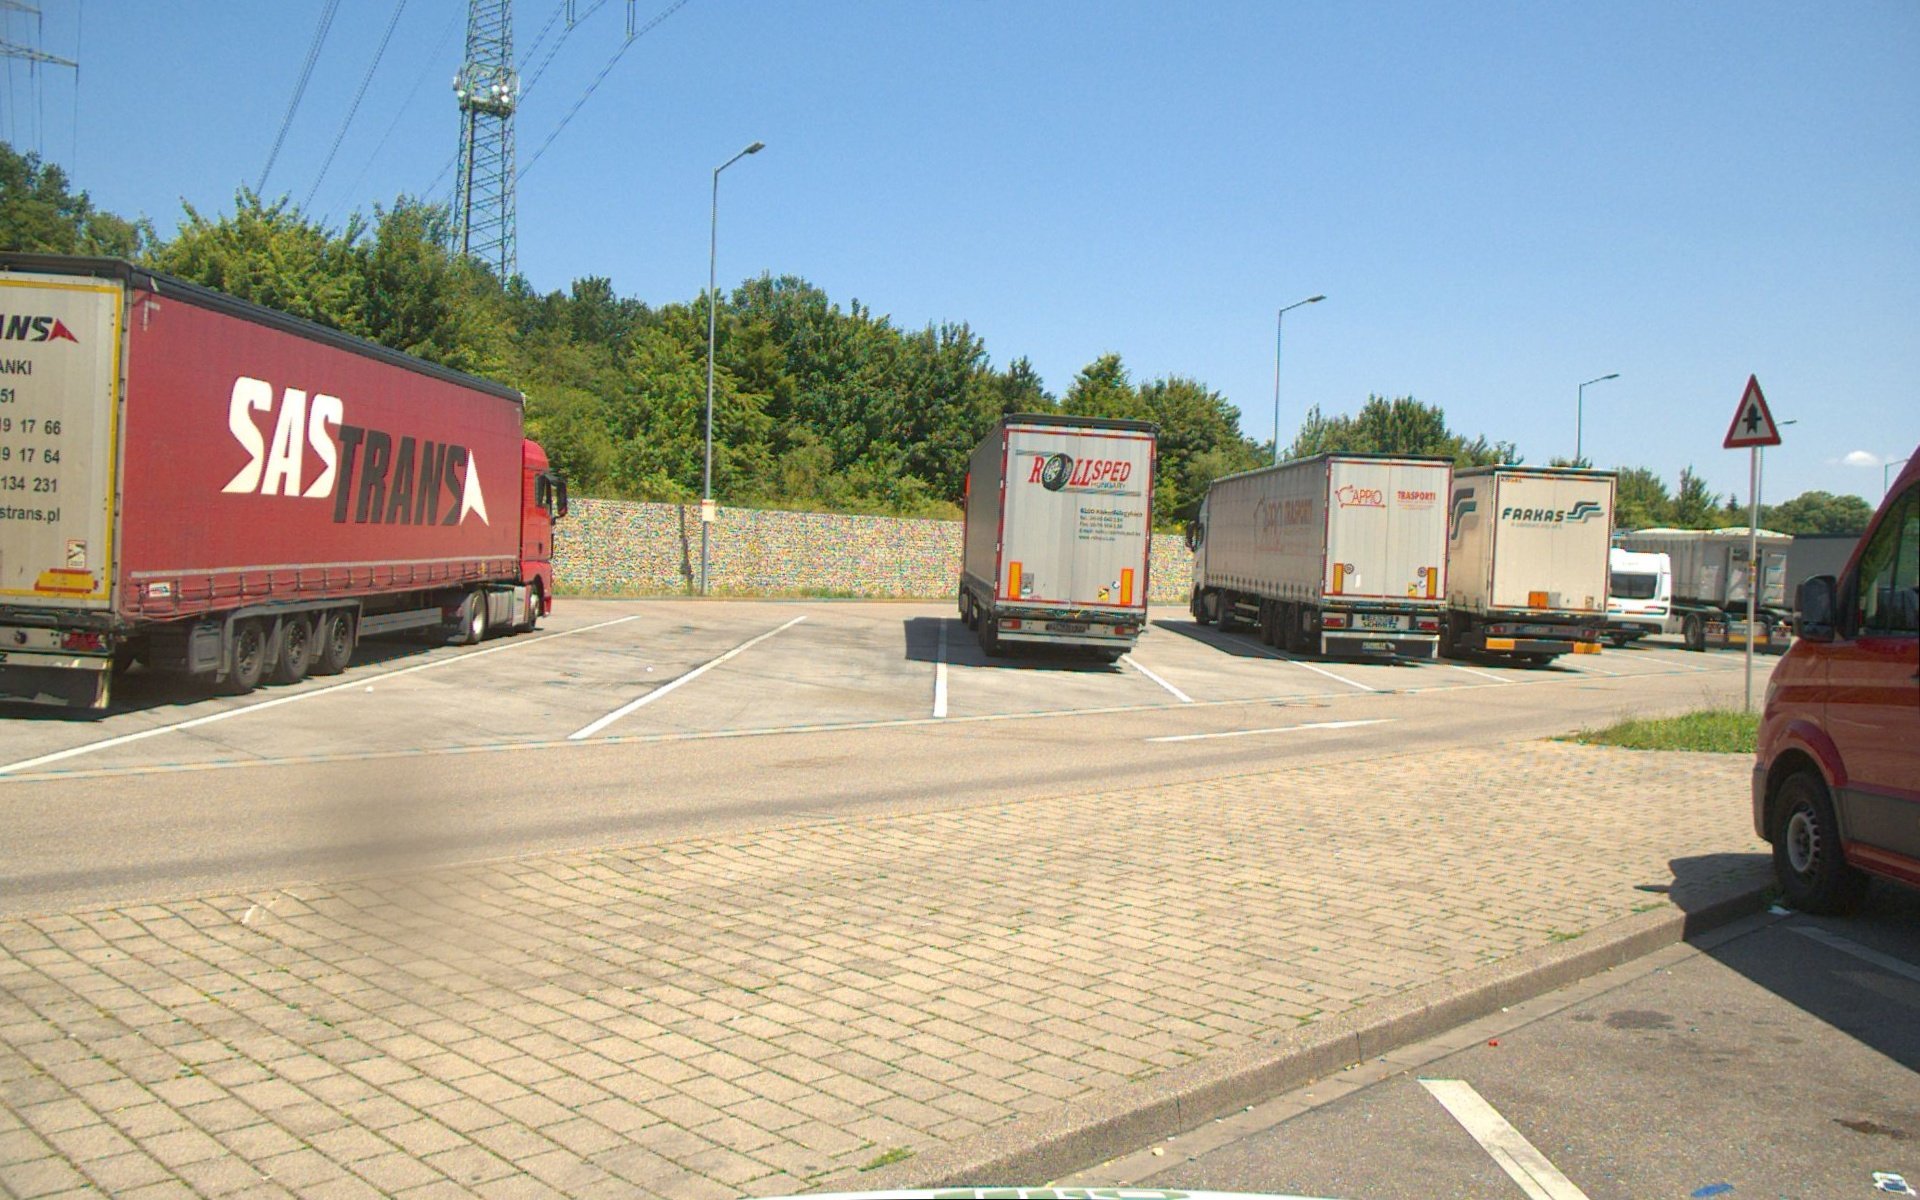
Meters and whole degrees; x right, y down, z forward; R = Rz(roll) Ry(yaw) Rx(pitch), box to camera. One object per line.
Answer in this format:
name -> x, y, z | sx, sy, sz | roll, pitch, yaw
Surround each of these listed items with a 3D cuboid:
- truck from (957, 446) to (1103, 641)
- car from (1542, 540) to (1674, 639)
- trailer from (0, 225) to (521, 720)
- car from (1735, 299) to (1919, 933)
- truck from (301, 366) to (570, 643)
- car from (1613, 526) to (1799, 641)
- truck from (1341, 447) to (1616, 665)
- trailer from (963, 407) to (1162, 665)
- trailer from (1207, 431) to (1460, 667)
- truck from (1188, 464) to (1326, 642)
truck -> 1.470, -1.246, 37.756 | 2.814, 4.050, 6.027 | 1, 1, -2
car -> 18.236, -0.282, 46.742 | 2.072, 2.645, 3.999 | 1, 0, -1
trailer -> -8.636, -1.238, 20.989 | 2.743, 4.293, 13.200 | 1, 1, -1
car -> 4.970, 0.100, 5.576 | 1.952, 2.679, 6.385 | 1, 1, 3
truck -> -8.723, -1.512, 28.243 | 2.749, 4.205, 5.893 | 1, 1, -1
car -> 21.701, -0.511, 48.501 | 2.448, 3.128, 6.350 | 1, 1, -1
truck -> 11.717, -0.844, 38.954 | 2.534, 4.299, 11.967 | 1, 0, -1
trailer -> 1.650, -1.132, 32.105 | 2.838, 4.083, 11.314 | 1, 1, -1
trailer -> 8.175, -1.107, 38.410 | 2.627, 4.530, 12.826 | 1, 1, -1
truck -> 8.023, -1.257, 45.368 | 2.607, 4.530, 5.863 | 1, 1, -1
